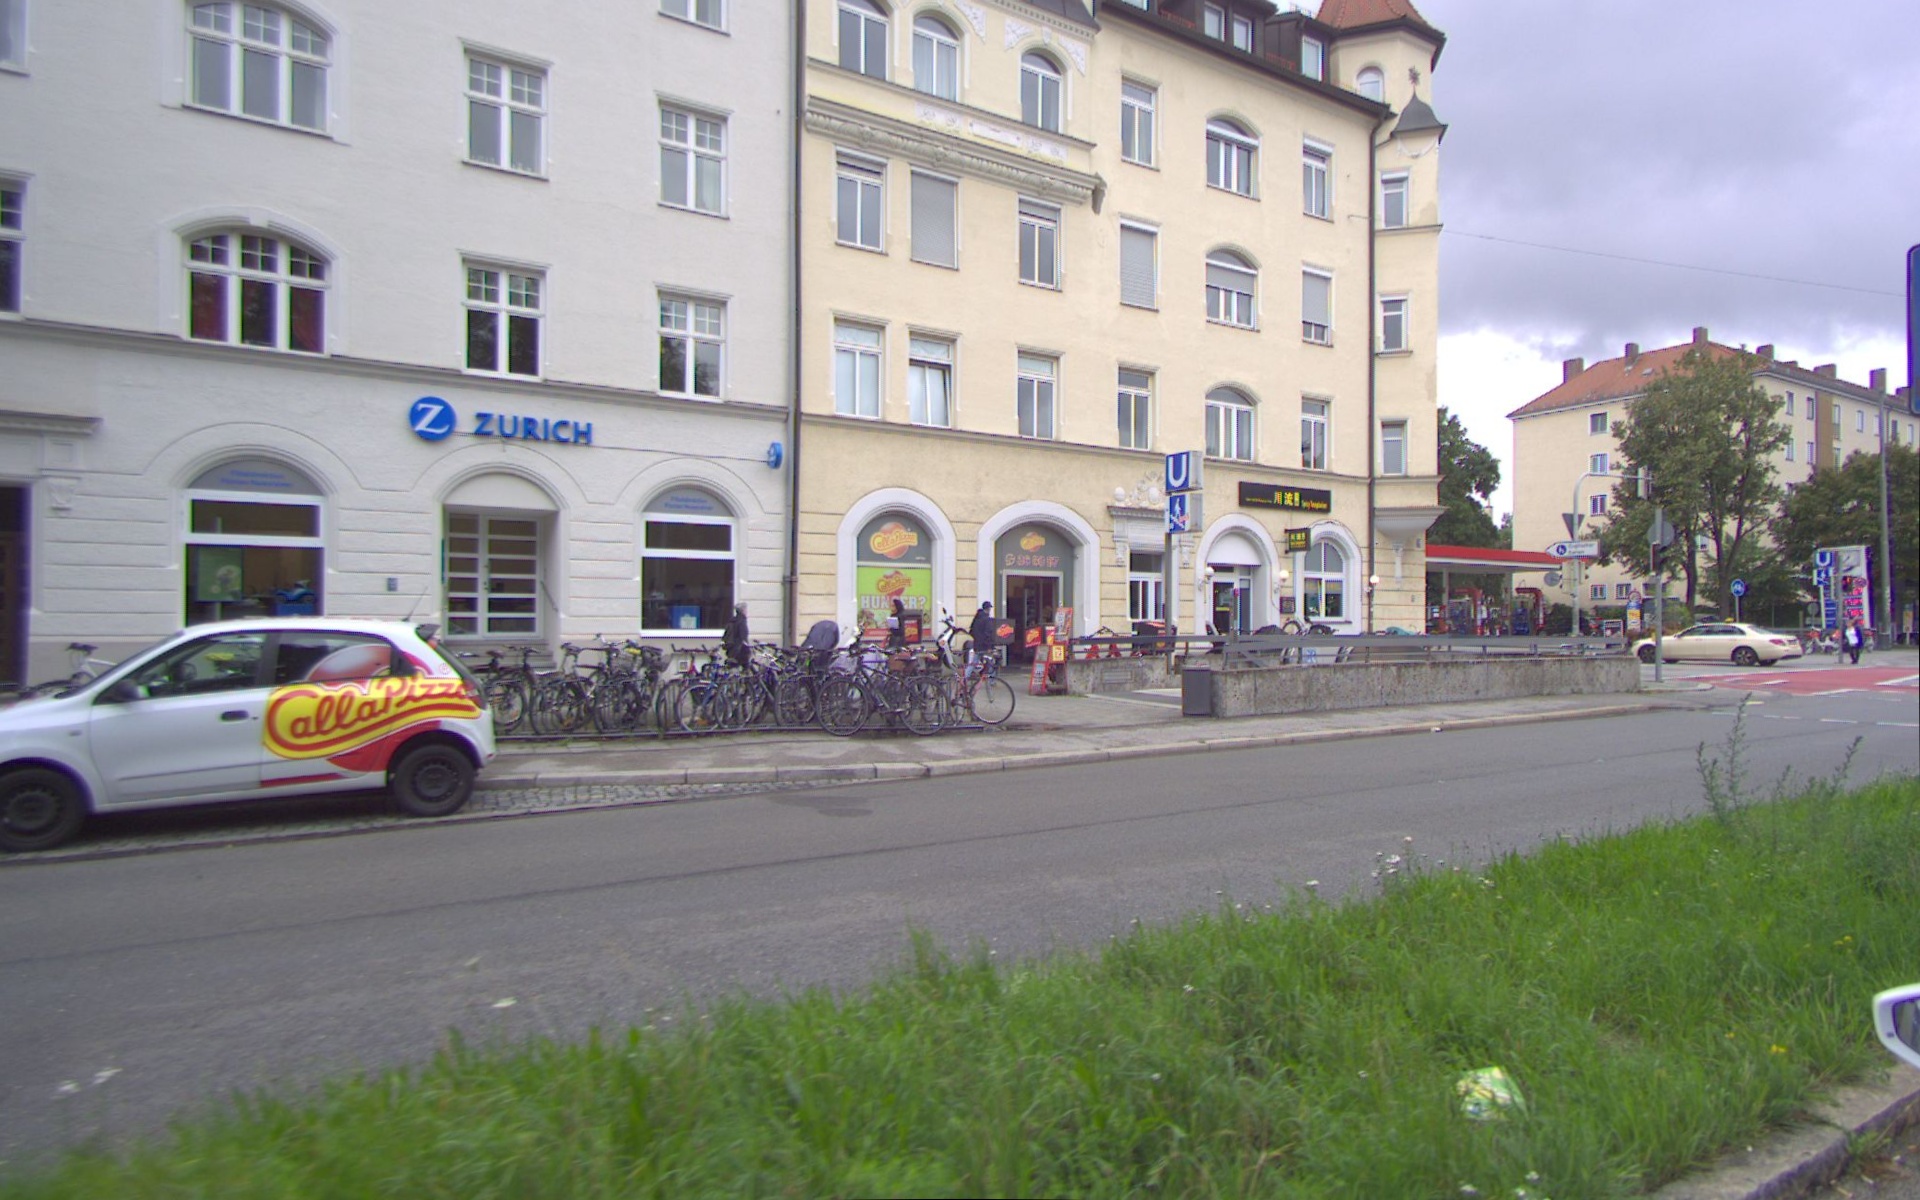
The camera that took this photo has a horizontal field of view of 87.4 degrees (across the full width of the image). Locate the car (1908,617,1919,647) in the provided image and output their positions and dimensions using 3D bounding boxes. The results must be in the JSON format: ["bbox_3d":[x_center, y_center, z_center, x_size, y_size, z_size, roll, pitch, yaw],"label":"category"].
[{"bbox_3d":[68.105,2.237,69.073,1.871,2.040,3.963,1,-1,-33],"label":"car"}]

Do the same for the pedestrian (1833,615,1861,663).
[{"bbox_3d":[31.772,1.393,35.982,0.568,1.718,0.534,0,0,-18],"label":"pedestrian"}]

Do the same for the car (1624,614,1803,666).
[{"bbox_3d":[26.324,1.346,35.276,1.764,1.668,4.742,1,-1,-30],"label":"car"}]

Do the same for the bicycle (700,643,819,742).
[{"bbox_3d":[-2.496,1.129,12.669,0.325,1.130,1.675,0,-1,37],"label":"bicycle"}]

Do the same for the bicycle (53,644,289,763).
[{"bbox_3d":[-8.517,1.070,10.957,0.495,1.130,1.986,0,-1,29],"label":"bicycle"}]

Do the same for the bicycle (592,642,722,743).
[{"bbox_3d":[-3.709,1.108,12.416,0.325,1.130,1.675,0,-1,37],"label":"bicycle"}]

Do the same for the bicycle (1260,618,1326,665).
[{"bbox_3d":[7.259,0.886,21.875,1.526,0.993,0.470,1,-1,-30],"label":"bicycle"}]

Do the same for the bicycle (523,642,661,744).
[{"bbox_3d":[-4.434,1.092,12.215,0.325,1.130,1.675,0,-1,37],"label":"bicycle"}]

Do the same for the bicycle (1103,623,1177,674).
[{"bbox_3d":[3.624,0.963,20.222,1.526,0.993,0.470,1,-1,-30],"label":"bicycle"}]

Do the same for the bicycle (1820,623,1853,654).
[{"bbox_3d":[36.493,1.603,41.810,2.166,1.252,0.604,1,-1,-36],"label":"bicycle"}]

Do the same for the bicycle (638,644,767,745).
[{"bbox_3d":[-3.147,1.128,12.401,0.376,1.130,1.675,0,-1,37],"label":"bicycle"}]

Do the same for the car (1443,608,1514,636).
[{"bbox_3d":[35.138,1.461,68.178,1.835,1.808,3.969,1,-1,-29],"label":"car"}]

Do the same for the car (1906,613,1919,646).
[{"bbox_3d":[56.883,1.696,57.255,1.859,1.862,3.966,1,-1,-32],"label":"car"}]

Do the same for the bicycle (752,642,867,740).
[{"bbox_3d":[-1.882,1.121,12.792,0.361,1.130,1.675,0,-1,37],"label":"bicycle"}]

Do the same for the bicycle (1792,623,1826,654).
[{"bbox_3d":[35.473,1.596,41.975,2.166,1.252,0.604,1,-1,-36],"label":"bicycle"}]

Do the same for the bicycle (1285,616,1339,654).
[{"bbox_3d":[9.374,0.921,26.706,1.526,0.993,0.470,1,-1,-30],"label":"bicycle"}]

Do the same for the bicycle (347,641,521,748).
[{"bbox_3d":[-6.178,1.078,11.901,0.325,1.130,1.868,0,-1,37],"label":"bicycle"}]

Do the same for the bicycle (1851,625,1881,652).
[{"bbox_3d":[39.808,1.691,44.128,1.947,1.160,0.604,1,-1,-36],"label":"bicycle"}]

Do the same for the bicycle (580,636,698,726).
[{"bbox_3d":[-4.370,1.078,13.783,0.325,1.130,1.675,0,-1,37],"label":"bicycle"}]

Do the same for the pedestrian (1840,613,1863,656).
[{"bbox_3d":[35.544,1.375,40.034,0.581,1.718,0.576,0,-1,30],"label":"pedestrian"}]

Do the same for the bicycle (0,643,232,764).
[{"bbox_3d":[-9.061,1.055,10.831,0.451,1.130,1.963,0,-1,29],"label":"bicycle"}]

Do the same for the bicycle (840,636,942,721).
[{"bbox_3d":[-0.970,1.104,14.561,0.390,1.130,1.807,0,-1,37],"label":"bicycle"}]

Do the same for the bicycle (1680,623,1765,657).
[{"bbox_3d":[31.497,1.626,41.535,2.664,1.267,0.792,2,1,31],"label":"bicycle"}]

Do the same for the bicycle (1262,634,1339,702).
[{"bbox_3d":[6.058,1.185,17.837,1.798,1.130,0.392,1,-1,-39],"label":"bicycle"}]

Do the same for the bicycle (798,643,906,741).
[{"bbox_3d":[-1.350,1.136,12.834,0.325,1.130,1.675,0,-1,37],"label":"bicycle"}]

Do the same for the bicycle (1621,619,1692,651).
[{"bbox_3d":[30.032,1.487,43.316,0.785,1.267,2.374,1,1,-39],"label":"bicycle"}]

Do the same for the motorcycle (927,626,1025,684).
[{"bbox_3d":[0.335,1.138,20.973,1.947,1.137,0.610,1,0,11],"label":"motorcycle"}]

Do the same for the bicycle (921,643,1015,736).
[{"bbox_3d":[0.136,1.156,13.375,0.325,1.130,1.675,0,-1,37],"label":"bicycle"}]

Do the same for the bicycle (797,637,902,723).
[{"bbox_3d":[-1.565,1.121,14.503,0.390,1.130,1.807,0,-1,37],"label":"bicycle"}]

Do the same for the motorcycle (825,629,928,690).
[{"bbox_3d":[-1.655,1.176,20.024,1.947,1.145,0.610,1,0,11],"label":"motorcycle"}]

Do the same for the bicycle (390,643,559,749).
[{"bbox_3d":[-5.696,1.092,11.896,0.325,1.130,1.868,0,-1,37],"label":"bicycle"}]

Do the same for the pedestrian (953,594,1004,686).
[{"bbox_3d":[0.364,0.750,19.355,0.583,1.719,0.943,0,-1,33],"label":"pedestrian"}]

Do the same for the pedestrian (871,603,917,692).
[{"bbox_3d":[-1.259,0.892,19.019,0.772,1.653,0.420,0,-1,-24],"label":"pedestrian"}]

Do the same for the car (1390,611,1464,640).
[{"bbox_3d":[29.745,1.594,64.061,1.835,1.808,3.969,1,-1,-29],"label":"car"}]

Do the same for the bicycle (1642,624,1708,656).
[{"bbox_3d":[29.964,1.661,42.119,0.760,1.252,2.161,1,-1,-40],"label":"bicycle"}]

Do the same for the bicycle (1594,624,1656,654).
[{"bbox_3d":[28.965,1.693,43.771,0.759,1.252,2.163,1,-1,-38],"label":"bicycle"}]

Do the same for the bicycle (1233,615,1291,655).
[{"bbox_3d":[7.605,0.878,25.261,1.526,0.993,0.470,1,-1,-30],"label":"bicycle"}]

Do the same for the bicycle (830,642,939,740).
[{"bbox_3d":[-0.927,1.119,12.753,0.362,1.130,1.675,0,-1,37],"label":"bicycle"}]

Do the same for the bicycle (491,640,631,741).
[{"bbox_3d":[-4.861,1.072,12.332,0.325,1.130,1.675,0,-1,37],"label":"bicycle"}]

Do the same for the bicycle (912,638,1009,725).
[{"bbox_3d":[0.034,1.134,14.414,0.390,1.130,1.807,0,-1,37],"label":"bicycle"}]

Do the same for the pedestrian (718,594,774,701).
[{"bbox_3d":[-3.547,0.777,16.640,0.762,1.719,0.540,1,-1,-32],"label":"pedestrian"}]

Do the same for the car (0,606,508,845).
[{"bbox_3d":[-5.742,0.868,8.093,3.742,1.606,1.643,1,-1,-28],"label":"car"}]
